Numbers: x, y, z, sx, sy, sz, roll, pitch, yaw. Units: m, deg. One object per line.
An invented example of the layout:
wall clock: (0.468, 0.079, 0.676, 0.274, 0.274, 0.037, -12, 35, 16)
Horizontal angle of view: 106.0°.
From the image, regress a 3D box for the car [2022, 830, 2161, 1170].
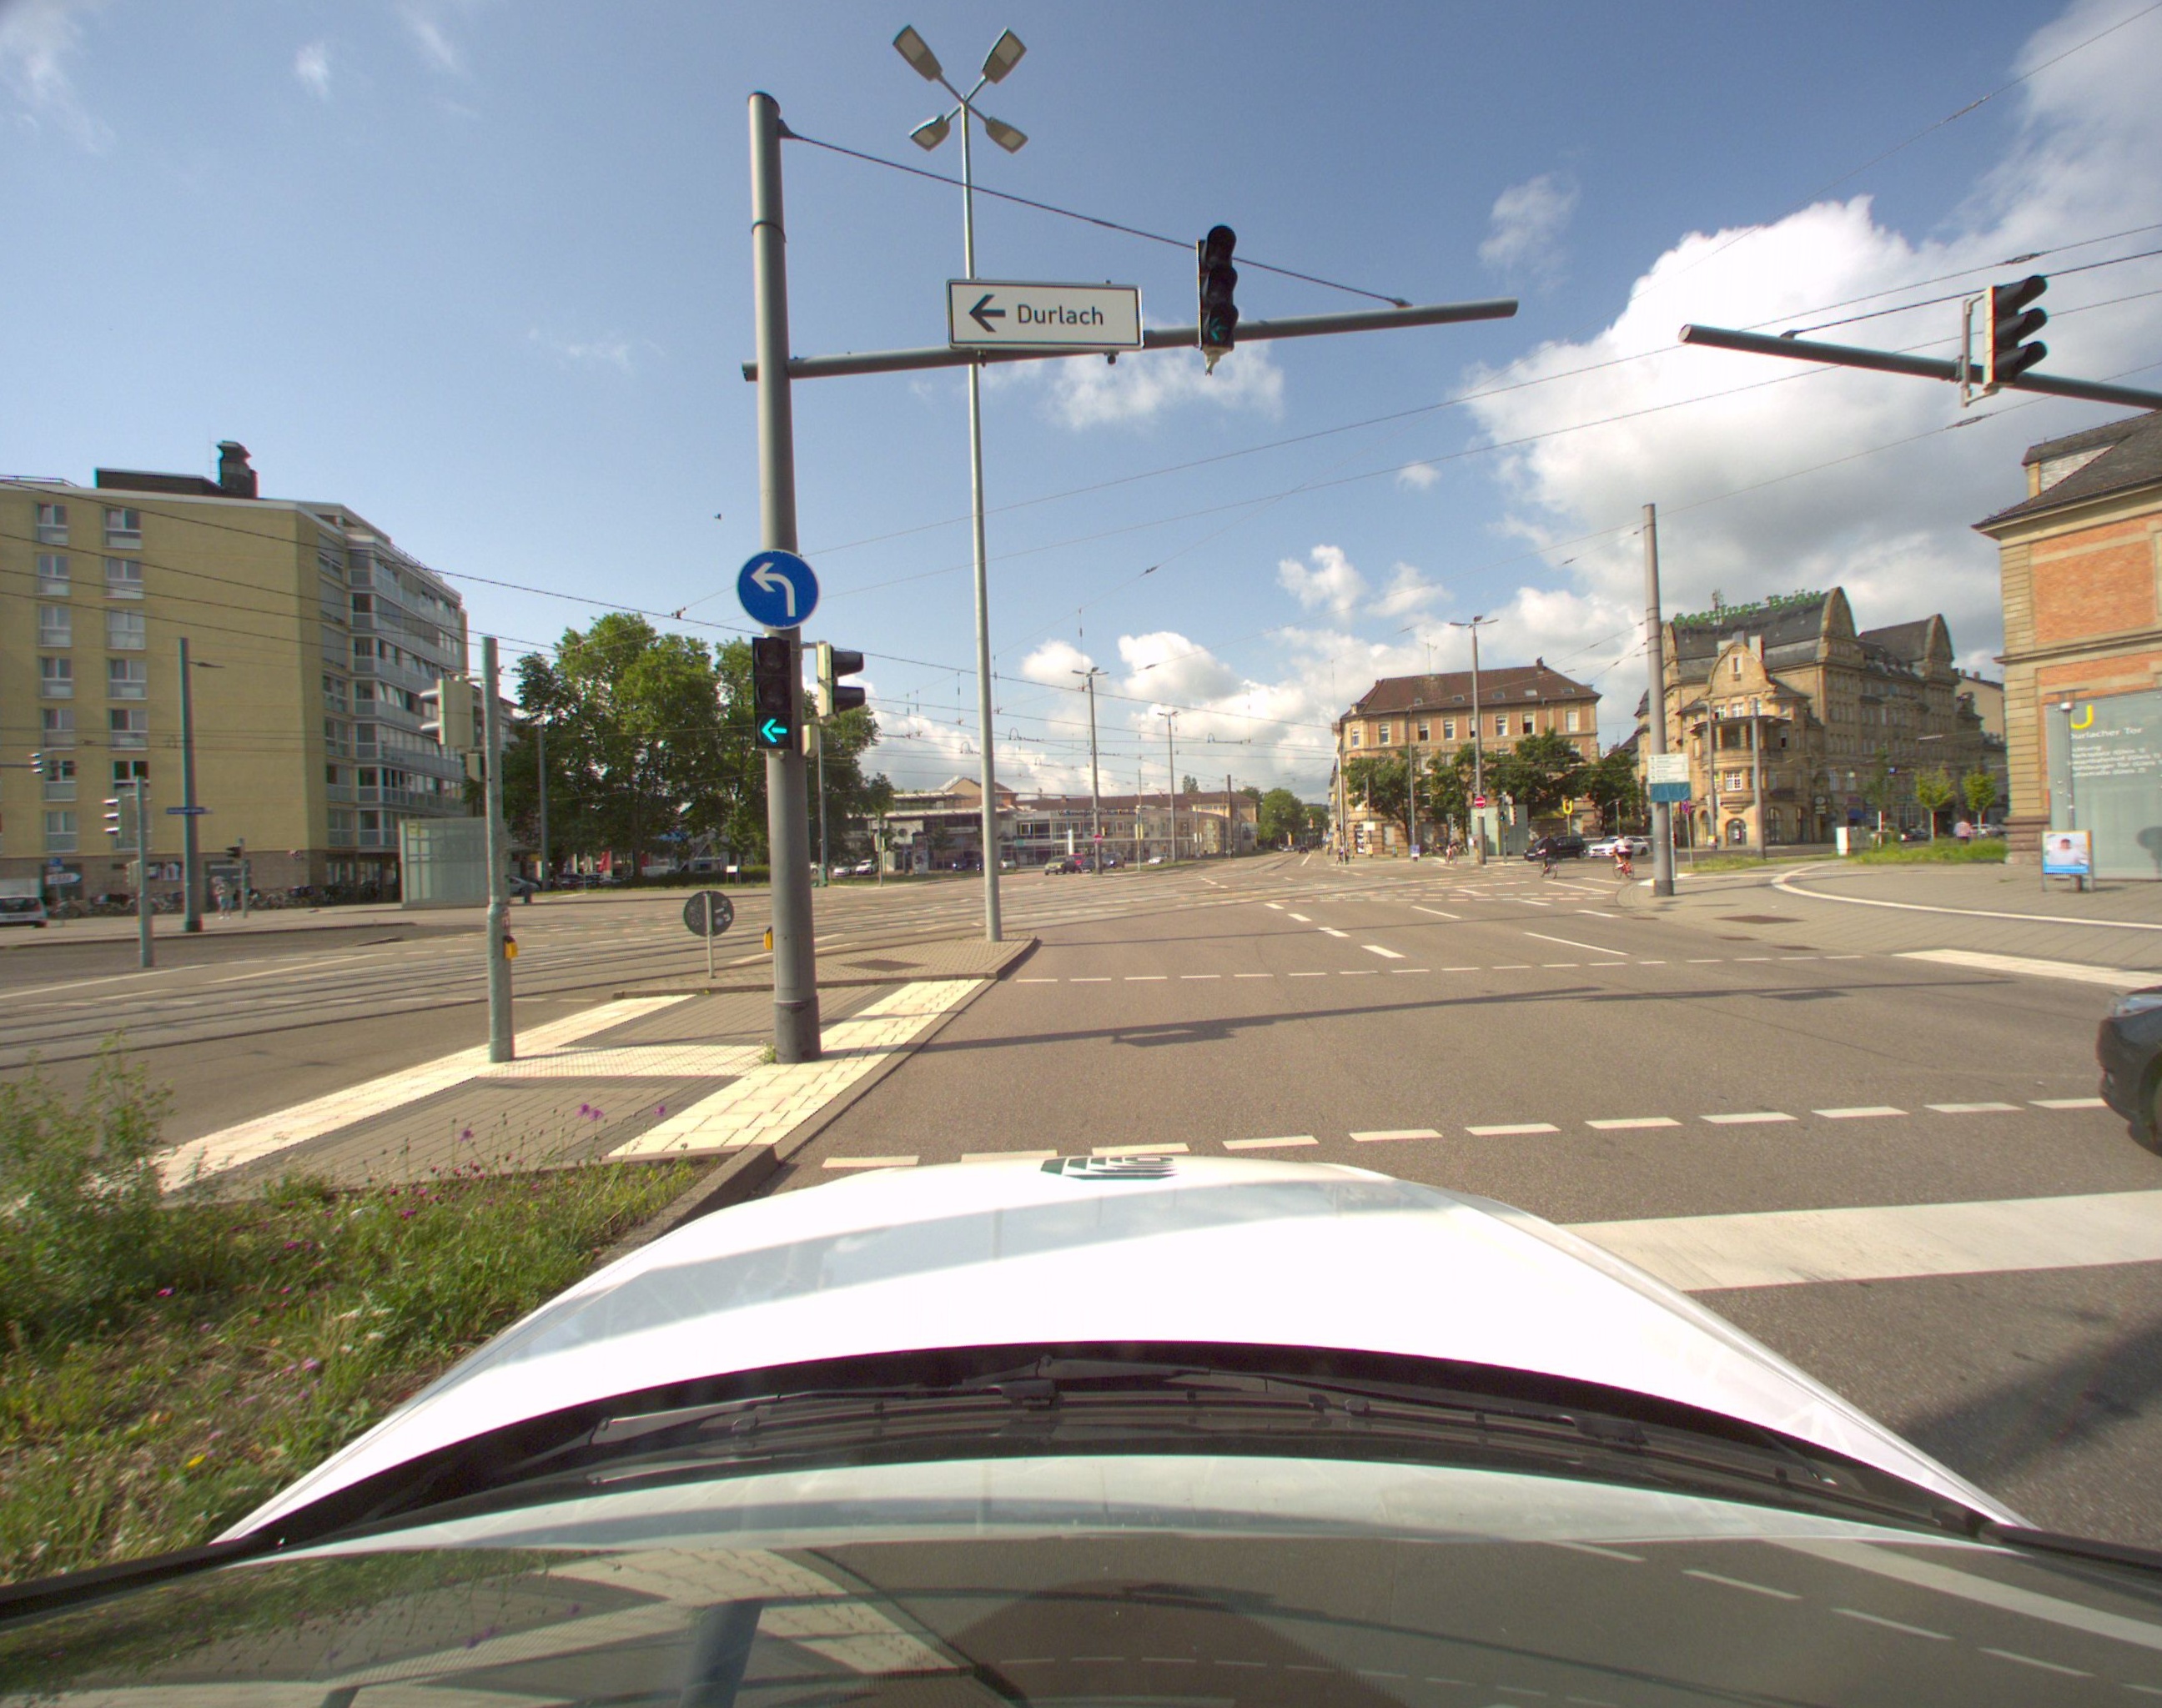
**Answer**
car: (5.706, 0.646, 2.057, 1.761, 1.528, 4.256, -1, 0, 1)

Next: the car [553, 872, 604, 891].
car: (-46.988, 2.561, 76.243, 3.611, 1.594, 1.659, -2, 0, -12)

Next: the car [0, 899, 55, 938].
car: (-46.805, 2.817, 35.842, 3.467, 1.440, 1.730, 2, -1, 34)

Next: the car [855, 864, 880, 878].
car: (-26.358, 2.100, 100.735, 2.062, 1.604, 3.996, -2, 0, -2)

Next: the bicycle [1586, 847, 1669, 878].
bicycle: (19.901, 0.348, 29.776, 0.989, 1.028, 3.109, 1, -2, 1)

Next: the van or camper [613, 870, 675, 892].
van or camper: (-50.490, 3.089, 94.210, 5.852, 2.469, 2.395, -1, -1, 3)

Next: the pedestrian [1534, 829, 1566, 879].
pedestrian: (17.871, 0.008, 31.067, 0.983, 1.841, 1.002, -1, -1, 27)

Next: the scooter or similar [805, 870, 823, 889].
scooter or similar: (-17.151, 1.635, 52.324, 0.934, 1.157, 0.377, 2, 1, -43)

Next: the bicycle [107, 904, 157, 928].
bicycle: (-50.034, 3.256, 42.953, 1.640, 1.202, 0.547, 3, -3, -11)

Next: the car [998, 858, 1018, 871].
car: (-9.033, 1.287, 101.230, 1.911, 1.552, 4.003, -2, 0, 3)

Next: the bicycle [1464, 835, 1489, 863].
bicycle: (25.729, -0.319, 53.019, 0.727, 1.777, 1.636, -2, 0, -2)

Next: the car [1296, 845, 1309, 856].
car: (41.884, -0.618, 153.678, 1.977, 2.013, 4.020, -2, 0, 20)

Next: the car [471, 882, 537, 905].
car: (-43.535, 2.959, 61.555, 3.570, 1.530, 1.989, 0, 0, -16)

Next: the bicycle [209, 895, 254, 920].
bicycle: (-46.615, 2.932, 44.715, 1.640, 1.272, 0.486, 3, -3, -11)

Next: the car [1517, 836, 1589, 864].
car: (30.636, -0.257, 52.851, 4.349, 1.739, 1.983, 0, -1, -26)

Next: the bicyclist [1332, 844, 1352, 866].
bicyclist: (20.055, 0.089, 62.613, 1.192, 1.658, 0.784, -2, 0, -7)

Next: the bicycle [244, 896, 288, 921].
bicycle: (-45.236, 3.025, 45.189, 1.640, 1.272, 0.486, 3, -3, -11)

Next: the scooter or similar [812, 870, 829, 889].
scooter or similar: (-16.640, 1.628, 52.035, 0.377, 1.157, 0.935, 4, 1, 36)

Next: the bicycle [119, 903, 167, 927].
bicycle: (-50.100, 3.260, 43.512, 1.640, 1.202, 0.486, 3, -3, -11)

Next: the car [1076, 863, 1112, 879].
car: (1.040, 1.301, 62.116, 1.608, 1.161, 4.018, -1, 0, 17)

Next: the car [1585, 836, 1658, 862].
car: (36.776, -0.341, 55.412, 4.694, 1.595, 1.983, -3, 1, -25)

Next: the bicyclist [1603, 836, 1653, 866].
bicyclist: (19.903, -0.091, 29.655, 0.987, 1.028, 1.215, 1, -3, 1)

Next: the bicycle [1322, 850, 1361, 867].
bicycle: (20.048, 0.349, 62.705, 2.669, 1.170, 0.898, -2, 0, -8)

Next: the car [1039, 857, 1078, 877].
car: (-1.692, 0.965, 62.800, 1.806, 1.513, 4.018, -1, 0, 17)

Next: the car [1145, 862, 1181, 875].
car: (9.791, 1.705, 96.976, 4.507, 1.464, 1.760, 0, -1, -45)

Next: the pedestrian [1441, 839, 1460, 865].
pedestrian: (25.810, -0.119, 56.865, 0.865, 1.810, 0.884, 0, -1, -10)

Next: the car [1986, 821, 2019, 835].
car: (112.744, -3.162, 99.641, 3.831, 1.538, 1.835, -2, 0, -28)

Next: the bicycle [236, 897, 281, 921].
bicycle: (-45.103, 3.021, 44.668, 1.640, 1.272, 0.529, 3, -3, -11)

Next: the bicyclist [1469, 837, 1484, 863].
bicyclist: (25.729, -0.280, 52.951, 0.571, 1.671, 0.656, -2, 0, -2)

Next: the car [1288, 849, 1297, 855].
car: (52.105, -0.523, 201.095, 1.980, 1.332, 4.014, -2, 0, 12)

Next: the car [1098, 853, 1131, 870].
car: (3.176, 0.714, 77.164, 1.977, 1.552, 4.020, -1, 0, 20)

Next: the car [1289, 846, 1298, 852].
car: (56.178, -1.266, 215.303, 1.979, 1.491, 4.015, -2, 0, 14)

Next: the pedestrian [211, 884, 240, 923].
pedestrian: (-39.289, 2.259, 37.411, 0.790, 1.759, 0.983, -2, -1, -39)

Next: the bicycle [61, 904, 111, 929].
bicycle: (-51.903, 3.271, 42.492, 1.640, 1.202, 0.486, 3, -3, -11)

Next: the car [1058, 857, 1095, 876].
car: (-0.312, 1.046, 68.940, 1.978, 1.519, 4.018, -1, 0, 17)

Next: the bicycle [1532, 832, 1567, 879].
bicycle: (17.864, 0.068, 31.075, 0.996, 1.725, 2.483, -1, -1, 27)

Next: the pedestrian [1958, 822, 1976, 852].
pedestrian: (44.652, -0.868, 41.040, 0.501, 1.505, 0.501, -2, -1, -33)

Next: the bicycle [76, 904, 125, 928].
bicycle: (-51.836, 3.273, 43.060, 1.640, 1.202, 0.486, 3, -3, -11)

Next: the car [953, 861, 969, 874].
car: (-14.688, 1.653, 99.940, 1.919, 1.445, 3.989, -2, 0, -8)

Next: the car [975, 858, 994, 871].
car: (-11.699, 1.249, 99.259, 1.914, 1.445, 3.997, -2, 0, -2)

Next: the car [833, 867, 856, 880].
car: (-29.250, 2.366, 100.831, 1.991, 1.574, 3.991, 0, 0, -6)
